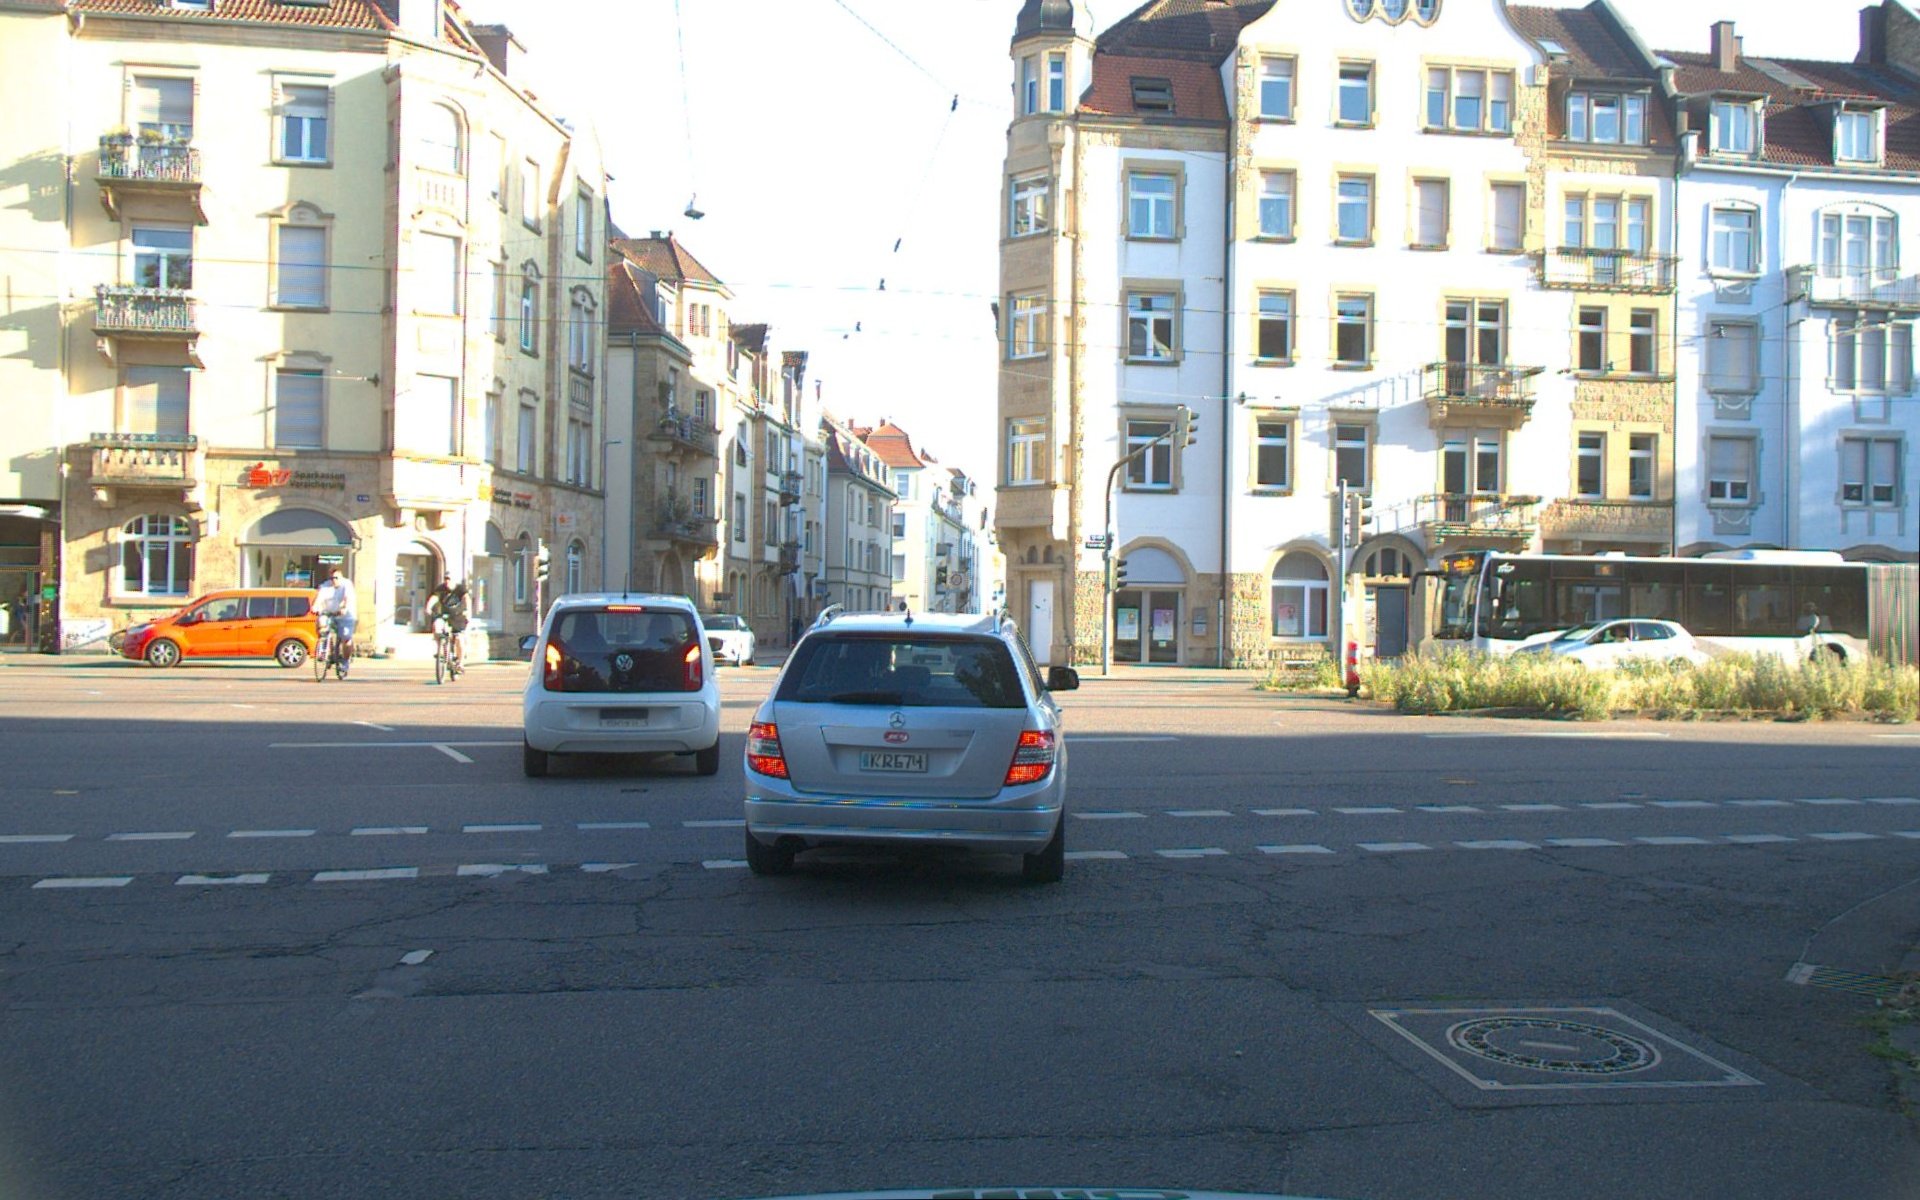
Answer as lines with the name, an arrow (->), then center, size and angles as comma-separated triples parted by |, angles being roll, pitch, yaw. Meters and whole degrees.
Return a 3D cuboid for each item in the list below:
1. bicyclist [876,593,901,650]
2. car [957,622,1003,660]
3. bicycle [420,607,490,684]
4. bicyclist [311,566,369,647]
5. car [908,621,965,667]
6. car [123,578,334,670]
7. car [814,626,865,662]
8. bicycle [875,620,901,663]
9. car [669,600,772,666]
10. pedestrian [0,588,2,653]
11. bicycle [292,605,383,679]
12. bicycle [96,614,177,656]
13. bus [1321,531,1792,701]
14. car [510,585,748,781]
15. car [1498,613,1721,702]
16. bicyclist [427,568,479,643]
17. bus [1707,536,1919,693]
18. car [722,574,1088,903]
bicyclist -> -1.928, 0.583, 44.678 | 0.598, 1.520, 0.767 | 2, -1, -4
car -> 1.012, 1.987, 80.206 | 1.791, 1.736, 4.003 | 2, -1, 6
bicycle -> -8.133, 0.714, 26.696 | 0.638, 1.124, 1.923 | 2, 1, -4
bicyclist -> -9.997, 0.107, 26.680 | 0.645, 1.257, 0.767 | 2, -1, -4
car -> -0.880, 1.679, 64.246 | 1.791, 1.644, 4.002 | 2, -1, 5
car -> -16.609, 0.565, 37.765 | 4.237, 1.933, 1.907 | 2, -1, -23
car -> -5.818, 2.121, 80.217 | 1.791, 1.644, 4.002 | 2, -1, 5
bicycle -> -1.952, 1.107, 44.748 | 0.607, 1.124, 2.550 | 2, -1, -4
car -> -6.690, 0.922, 46.562 | 1.791, 1.736, 4.003 | 2, -1, 8
pedestrian -> -24.218, 0.512, 41.342 | 0.311, 1.607, 0.348 | 1, 0, 1
bicycle -> -10.009, 0.655, 26.680 | 0.638, 1.124, 2.550 | 2, -1, -4
bicycle -> -21.023, 0.880, 42.230 | 1.773, 1.046, 0.492 | 1, 0, -10
bus -> 13.480, 0.393, 37.756 | 9.680, 3.433, 3.270 | 2, -1, -8
car -> -2.848, 0.676, 14.965 | 1.698, 1.506, 3.809 | 2, -1, -6
car -> 13.591, 1.189, 34.747 | 3.909, 1.713, 1.934 | 2, -1, -5
bicyclist -> -8.170, 0.095, 26.662 | 0.598, 1.178, 0.767 | 2, -1, -4
bus -> 24.132, 0.483, 39.262 | 11.713, 3.433, 3.259 | 2, -1, -8
car -> -0.186, 0.680, 9.930 | 1.696, 1.503, 4.173 | 2, -1, 2
